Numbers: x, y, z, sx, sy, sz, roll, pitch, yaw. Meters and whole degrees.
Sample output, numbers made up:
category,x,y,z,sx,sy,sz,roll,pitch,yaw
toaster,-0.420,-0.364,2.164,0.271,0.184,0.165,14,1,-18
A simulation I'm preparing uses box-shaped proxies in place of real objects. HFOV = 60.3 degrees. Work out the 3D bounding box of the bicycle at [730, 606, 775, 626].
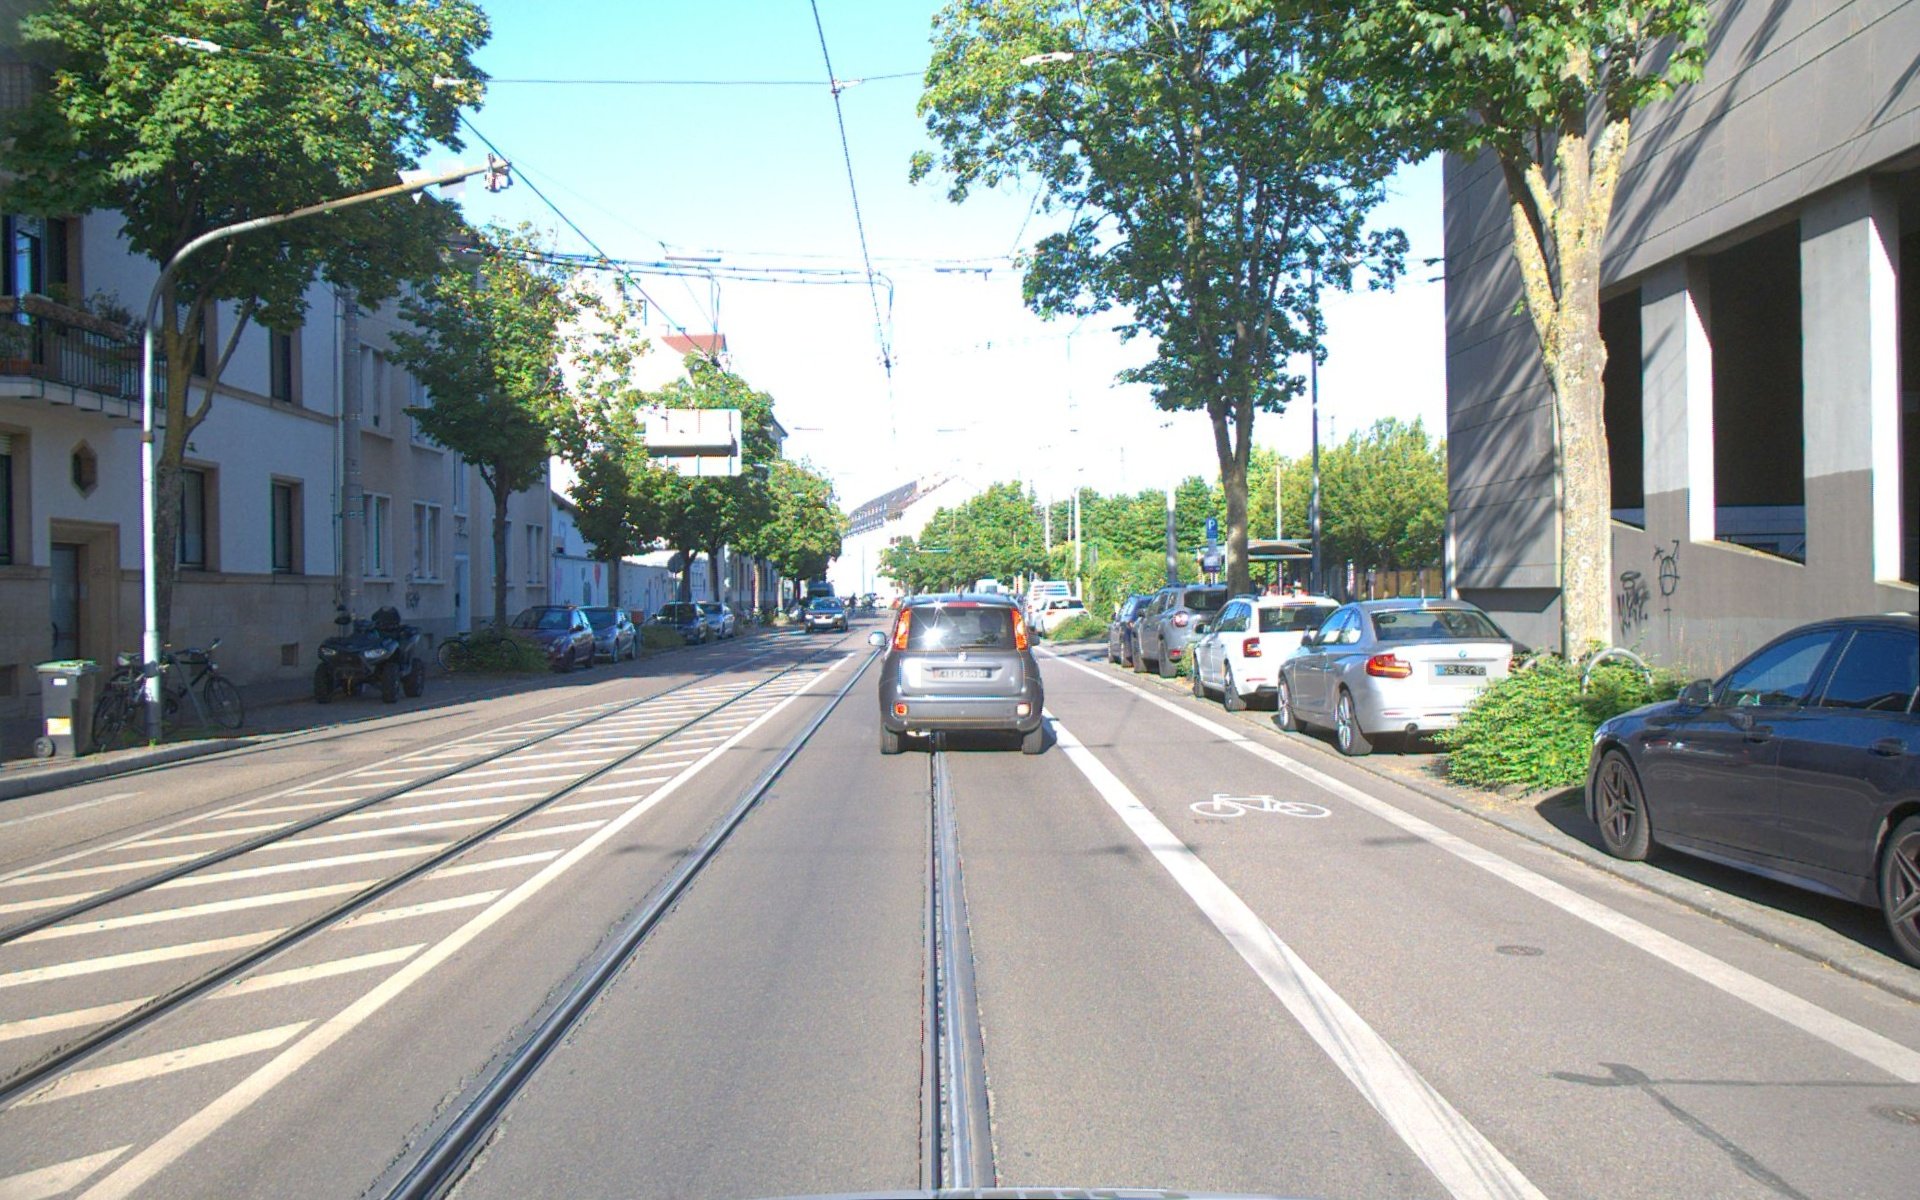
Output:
category,x,y,z,sx,sy,sz,roll,pitch,yaw
bicycle,-10.474,0.822,83.505,2.277,0.946,0.788,-2,0,35

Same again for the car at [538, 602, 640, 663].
category,x,y,z,sx,sy,sz,roll,pitch,yaw
car,-9.806,0.824,44.042,1.917,1.444,4.186,-2,0,-3

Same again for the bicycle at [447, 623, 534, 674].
category,x,y,z,sx,sy,sz,roll,pitch,yaw
bicycle,-9.882,1.021,34.827,1.719,1.041,0.605,0,-1,-22

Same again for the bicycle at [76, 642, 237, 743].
category,x,y,z,sx,sy,sz,roll,pitch,yaw
bicycle,-8.976,1.020,18.499,1.593,1.062,0.453,0,-1,-33

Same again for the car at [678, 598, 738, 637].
category,x,y,z,sx,sy,sz,roll,pitch,yaw
car,-10.138,0.682,66.862,1.917,1.444,4.186,-2,0,-3

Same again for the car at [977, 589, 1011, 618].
category,x,y,z,sx,sy,sz,roll,pitch,yaw
car,1.942,0.188,94.553,1.662,1.525,3.998,-2,1,-3

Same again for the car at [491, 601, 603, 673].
category,x,y,z,sx,sy,sz,roll,pitch,yaw
car,-9.619,0.829,38.805,1.762,1.512,3.998,-2,0,-3

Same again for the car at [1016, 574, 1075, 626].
category,x,y,z,sx,sy,sz,roll,pitch,yaw
car,3.371,-0.005,66.087,1.917,1.938,4.186,-2,0,-3

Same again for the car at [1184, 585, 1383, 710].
category,x,y,z,sx,sy,sz,roll,pitch,yaw
car,4.301,0.564,22.680,1.710,1.483,4.617,-2,0,-1

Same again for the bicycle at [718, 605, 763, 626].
category,x,y,z,sx,sy,sz,roll,pitch,yaw
bicycle,-10.974,0.777,82.642,2.219,0.946,0.788,-2,0,35

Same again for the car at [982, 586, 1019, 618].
category,x,y,z,sx,sy,sz,roll,pitch,yaw
car,2.129,0.082,88.136,1.662,1.574,3.998,-2,1,-3

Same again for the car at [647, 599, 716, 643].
category,x,y,z,sx,sy,sz,roll,pitch,yaw
car,-10.000,0.714,59.553,1.917,1.444,4.186,-2,0,-3

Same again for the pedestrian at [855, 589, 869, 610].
category,x,y,z,sx,sy,sz,roll,pitch,yaw
pedestrian,-8.313,-0.029,140.764,0.982,1.805,0.887,-2,0,-15

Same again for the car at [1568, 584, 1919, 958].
category,x,y,z,sx,sy,sz,roll,pitch,yaw
car,4.829,0.700,8.067,1.802,1.516,4.640,-2,0,-3

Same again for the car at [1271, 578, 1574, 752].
category,x,y,z,sx,sy,sz,roll,pitch,yaw
car,4.492,0.564,16.745,1.785,1.489,4.155,-2,0,-2

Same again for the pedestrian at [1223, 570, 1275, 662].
category,x,y,z,sx,sy,sz,roll,pitch,yaw
pedestrian,6.577,0.357,37.682,0.948,2.049,1.025,-2,0,0

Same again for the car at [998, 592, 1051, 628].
category,x,y,z,sx,sy,sz,roll,pitch,yaw
car,2.779,0.418,71.781,1.917,1.444,4.186,-2,0,-3

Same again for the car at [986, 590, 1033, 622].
category,x,y,z,sx,sy,sz,roll,pitch,yaw
car,2.372,0.273,79.733,1.917,1.444,4.186,-2,0,-3

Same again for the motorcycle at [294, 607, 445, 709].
category,x,y,z,sx,sy,sz,roll,pitch,yaw
motorcycle,-9.650,0.910,27.239,1.429,1.507,3.100,-2,0,-2

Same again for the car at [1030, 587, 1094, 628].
category,x,y,z,sx,sy,sz,roll,pitch,yaw
car,3.740,0.258,61.185,1.876,1.399,4.186,-2,0,-3

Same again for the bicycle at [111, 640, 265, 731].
category,x,y,z,sx,sy,sz,roll,pitch,yaw
bicycle,-9.400,1.026,20.193,1.682,1.052,0.441,0,-1,-22

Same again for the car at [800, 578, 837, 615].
category,x,y,z,sx,sy,sz,roll,pitch,yaw
car,-10.395,-0.281,121.998,2.286,2.614,5.670,-2,0,-2

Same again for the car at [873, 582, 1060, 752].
category,x,y,z,sx,sy,sz,roll,pitch,yaw
car,0.027,0.624,17.297,1.696,1.527,3.999,-1,0,-1

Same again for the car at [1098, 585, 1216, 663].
category,x,y,z,sx,sy,sz,roll,pitch,yaw
car,4.128,0.473,35.334,1.806,1.509,4.186,-2,0,-3

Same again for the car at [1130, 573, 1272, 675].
category,x,y,z,sx,sy,sz,roll,pitch,yaw
car,4.318,0.392,30.239,1.781,1.669,4.103,-2,0,-3

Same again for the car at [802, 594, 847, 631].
category,x,y,z,sx,sy,sz,roll,pitch,yaw
car,-5.863,0.506,71.972,1.745,1.518,4.186,-1,0,-3
